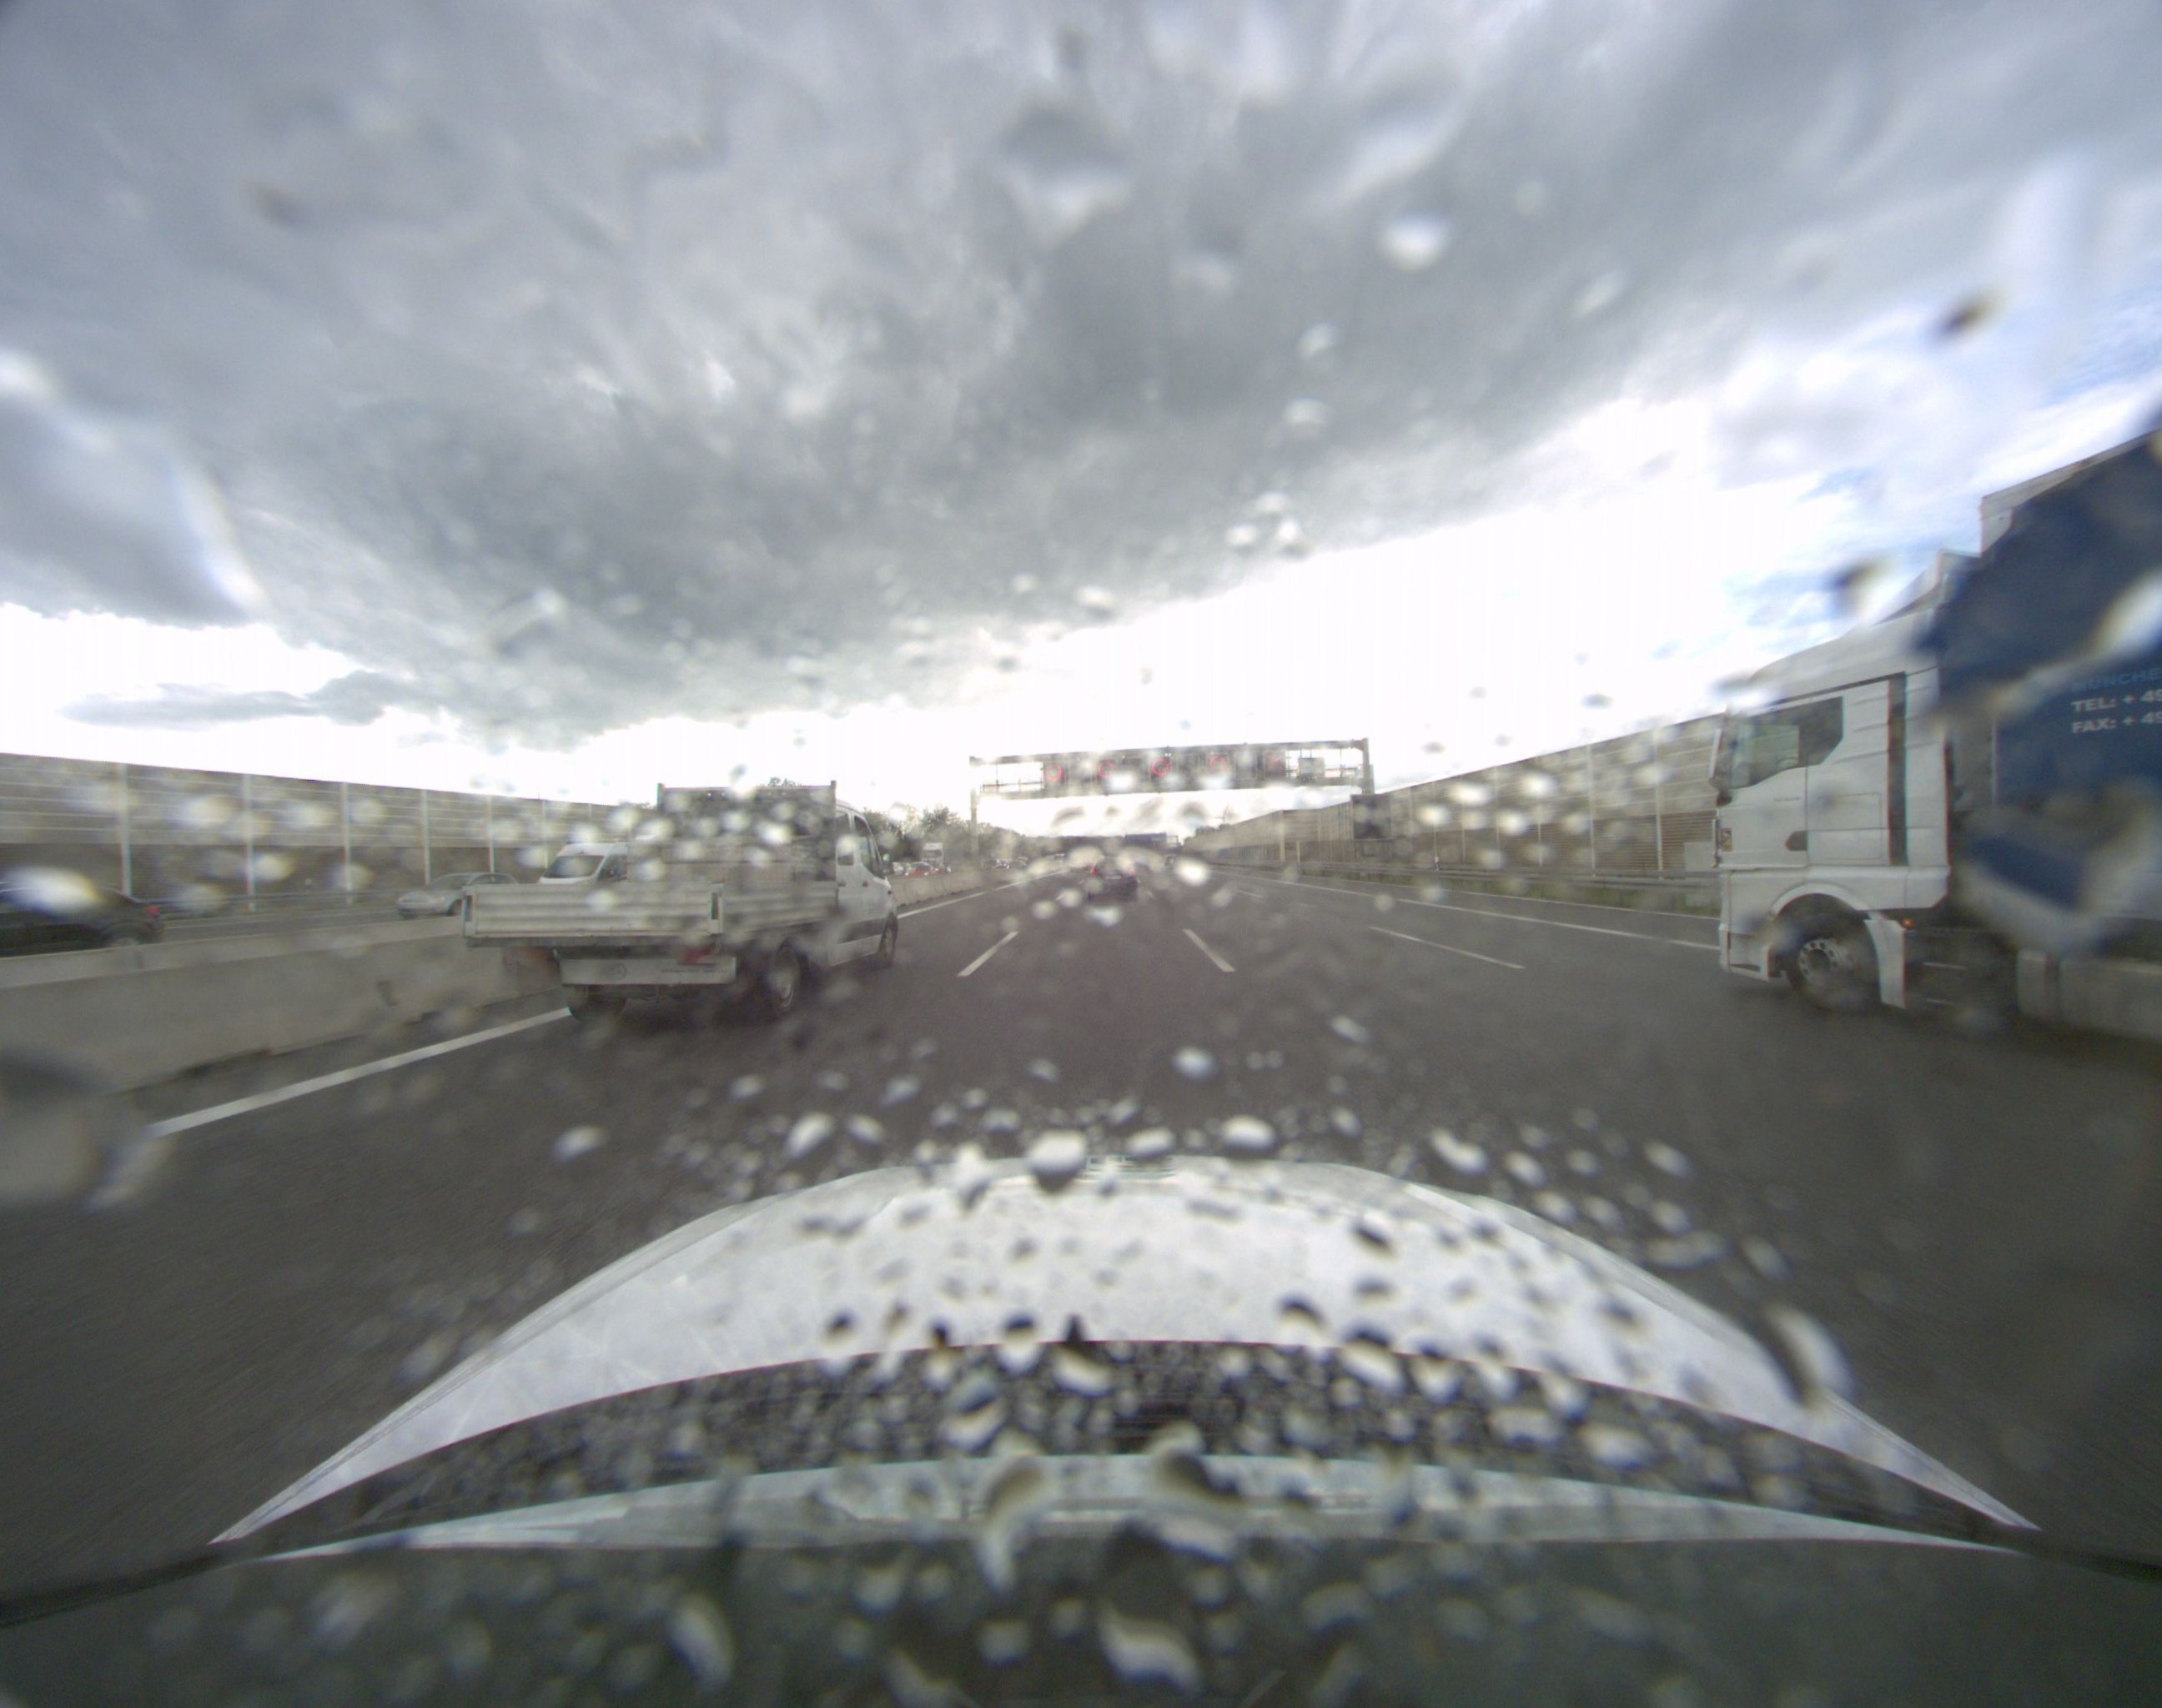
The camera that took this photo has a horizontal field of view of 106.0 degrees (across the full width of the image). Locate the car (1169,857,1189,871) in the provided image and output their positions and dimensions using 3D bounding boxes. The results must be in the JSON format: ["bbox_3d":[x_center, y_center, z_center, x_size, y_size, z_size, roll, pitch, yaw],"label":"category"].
[{"bbox_3d":[10.767,1.132,89.735,1.941,1.418,4.237,-1,-1,4],"label":"car"}]

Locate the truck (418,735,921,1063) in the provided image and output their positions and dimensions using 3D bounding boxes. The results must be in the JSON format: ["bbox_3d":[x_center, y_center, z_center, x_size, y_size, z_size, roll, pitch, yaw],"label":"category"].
[{"bbox_3d":[-3.799,0.327,9.711,2.299,2.439,7.148,-1,0,0],"label":"truck"}]

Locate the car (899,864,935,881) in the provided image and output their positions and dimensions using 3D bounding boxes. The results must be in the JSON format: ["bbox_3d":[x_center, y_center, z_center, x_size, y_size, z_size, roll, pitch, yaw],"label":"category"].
[{"bbox_3d":[-15.285,1.672,76.274,2.051,1.491,5.002,-1,-1,3],"label":"car"}]

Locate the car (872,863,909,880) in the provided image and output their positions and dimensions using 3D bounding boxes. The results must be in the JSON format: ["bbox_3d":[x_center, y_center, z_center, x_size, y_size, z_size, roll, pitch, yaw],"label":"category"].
[{"bbox_3d":[-18.284,1.683,78.433,2.051,1.491,5.002,-1,-1,3],"label":"car"}]

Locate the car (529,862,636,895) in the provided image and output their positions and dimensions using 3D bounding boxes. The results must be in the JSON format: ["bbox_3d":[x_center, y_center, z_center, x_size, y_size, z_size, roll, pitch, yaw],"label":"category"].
[{"bbox_3d":[-24.727,1.180,40.666,2.051,1.491,5.002,-1,-1,3],"label":"car"}]

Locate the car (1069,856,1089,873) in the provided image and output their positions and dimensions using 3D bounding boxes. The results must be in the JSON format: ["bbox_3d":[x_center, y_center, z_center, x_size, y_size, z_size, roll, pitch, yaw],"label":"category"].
[{"bbox_3d":[-0.196,1.027,81.287,1.710,1.624,4.281,-1,0,2],"label":"car"}]

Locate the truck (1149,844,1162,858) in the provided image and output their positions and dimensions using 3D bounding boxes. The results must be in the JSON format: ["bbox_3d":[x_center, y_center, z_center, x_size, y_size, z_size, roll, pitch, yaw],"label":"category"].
[{"bbox_3d":[19.592,-0.669,214.192,3.139,3.601,12.710,0,0,3],"label":"truck"}]

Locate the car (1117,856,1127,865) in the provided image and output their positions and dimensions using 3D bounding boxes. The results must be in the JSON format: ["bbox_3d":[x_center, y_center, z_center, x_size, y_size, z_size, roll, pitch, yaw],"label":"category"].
[{"bbox_3d":[8.110,1.283,160.361,1.959,1.561,4.437,-2,-1,3],"label":"car"}]

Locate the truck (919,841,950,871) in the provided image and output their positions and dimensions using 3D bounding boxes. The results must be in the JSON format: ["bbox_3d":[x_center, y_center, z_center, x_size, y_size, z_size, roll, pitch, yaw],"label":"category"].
[{"bbox_3d":[-20.312,0.310,113.191,2.960,4.035,5.731,-1,0,3],"label":"truck"}]

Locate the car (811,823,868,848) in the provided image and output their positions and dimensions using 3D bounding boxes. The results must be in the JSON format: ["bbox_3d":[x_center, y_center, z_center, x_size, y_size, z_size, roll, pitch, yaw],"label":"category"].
[{"bbox_3d":[-16.222,-1.238,55.015,2.051,1.491,5.002,-1,-1,3],"label":"car"}]

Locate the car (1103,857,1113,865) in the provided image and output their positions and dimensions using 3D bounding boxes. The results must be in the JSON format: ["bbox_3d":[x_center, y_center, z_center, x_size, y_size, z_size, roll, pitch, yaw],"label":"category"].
[{"bbox_3d":[6.005,1.563,181.958,1.959,1.561,4.437,-2,-1,3],"label":"car"}]

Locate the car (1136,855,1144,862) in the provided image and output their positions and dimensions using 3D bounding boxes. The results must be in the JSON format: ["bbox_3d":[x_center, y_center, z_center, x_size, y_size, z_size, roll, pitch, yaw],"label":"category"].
[{"bbox_3d":[14.967,1.137,205.943,1.960,1.561,4.436,-2,-1,3],"label":"car"}]

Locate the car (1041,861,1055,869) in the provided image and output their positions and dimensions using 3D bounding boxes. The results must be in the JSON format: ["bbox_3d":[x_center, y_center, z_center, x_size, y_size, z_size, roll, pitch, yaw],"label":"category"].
[{"bbox_3d":[-6.331,2.152,157.264,2.051,1.535,5.475,-1,-1,3],"label":"car"}]

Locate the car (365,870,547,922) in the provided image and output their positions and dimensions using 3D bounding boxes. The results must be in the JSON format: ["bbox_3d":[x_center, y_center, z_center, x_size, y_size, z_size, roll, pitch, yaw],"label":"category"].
[{"bbox_3d":[-20.791,1.350,27.445,2.051,1.491,5.002,-1,-1,3],"label":"car"}]

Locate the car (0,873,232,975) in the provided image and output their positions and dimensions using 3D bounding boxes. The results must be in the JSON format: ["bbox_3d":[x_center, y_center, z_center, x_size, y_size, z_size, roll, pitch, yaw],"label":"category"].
[{"bbox_3d":[-17.308,1.107,13.026,2.051,1.491,5.002,-1,-1,3],"label":"car"}]

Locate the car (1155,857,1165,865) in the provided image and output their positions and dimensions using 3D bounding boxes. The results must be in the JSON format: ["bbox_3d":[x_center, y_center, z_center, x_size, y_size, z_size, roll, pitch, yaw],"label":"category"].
[{"bbox_3d":[16.205,1.524,166.617,1.874,1.561,4.437,-2,-1,3],"label":"car"}]

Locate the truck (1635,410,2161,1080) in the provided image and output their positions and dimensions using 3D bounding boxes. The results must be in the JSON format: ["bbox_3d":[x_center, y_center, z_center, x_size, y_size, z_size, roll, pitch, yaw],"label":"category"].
[{"bbox_3d":[7.928,-0.670,6.806,2.735,4.035,5.727,-1,0,1],"label":"truck"}]

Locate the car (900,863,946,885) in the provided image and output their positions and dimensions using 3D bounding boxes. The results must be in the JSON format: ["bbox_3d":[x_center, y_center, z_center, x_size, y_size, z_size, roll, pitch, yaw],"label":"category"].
[{"bbox_3d":[-11.547,1.407,59.881,2.051,1.491,5.002,-1,-1,3],"label":"car"}]

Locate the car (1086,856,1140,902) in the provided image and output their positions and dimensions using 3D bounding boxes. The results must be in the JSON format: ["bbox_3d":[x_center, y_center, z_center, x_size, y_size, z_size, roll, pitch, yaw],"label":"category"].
[{"bbox_3d":[1.095,0.813,28.527,1.711,1.417,4.280,-1,0,1],"label":"car"}]

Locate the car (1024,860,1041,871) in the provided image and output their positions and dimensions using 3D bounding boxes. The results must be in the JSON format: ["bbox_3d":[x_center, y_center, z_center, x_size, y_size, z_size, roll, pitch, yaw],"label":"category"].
[{"bbox_3d":[-7.596,1.808,128.607,2.051,1.645,5.384,-1,-1,3],"label":"car"}]

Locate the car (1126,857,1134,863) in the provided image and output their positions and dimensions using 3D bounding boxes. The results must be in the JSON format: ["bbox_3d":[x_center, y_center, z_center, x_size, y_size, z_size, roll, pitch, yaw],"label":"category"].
[{"bbox_3d":[13.478,1.803,225.224,1.960,1.561,4.435,-2,-1,2],"label":"car"}]

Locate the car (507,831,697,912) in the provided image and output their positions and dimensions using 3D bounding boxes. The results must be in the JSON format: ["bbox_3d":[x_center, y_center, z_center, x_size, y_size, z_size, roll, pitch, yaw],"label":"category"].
[{"bbox_3d":[-17.035,0.591,29.649,2.373,2.550,7.092,-1,0,3],"label":"car"}]

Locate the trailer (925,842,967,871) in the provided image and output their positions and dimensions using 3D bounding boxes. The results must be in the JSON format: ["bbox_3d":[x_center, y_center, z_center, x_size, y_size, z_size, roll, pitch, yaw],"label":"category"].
[{"bbox_3d":[-19.883,0.320,121.096,2.919,4.032,14.465,-1,0,3],"label":"trailer"}]

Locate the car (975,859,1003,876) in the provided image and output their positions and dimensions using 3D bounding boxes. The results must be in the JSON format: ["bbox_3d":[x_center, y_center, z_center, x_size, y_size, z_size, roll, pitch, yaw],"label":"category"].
[{"bbox_3d":[-10.315,1.475,91.448,2.051,1.880,6.333,-1,-1,3],"label":"car"}]

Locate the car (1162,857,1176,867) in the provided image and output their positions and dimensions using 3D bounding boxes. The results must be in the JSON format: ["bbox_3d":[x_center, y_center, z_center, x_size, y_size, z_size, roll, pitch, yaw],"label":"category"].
[{"bbox_3d":[13.618,1.262,125.996,1.875,1.542,4.436,-2,-1,3],"label":"car"}]

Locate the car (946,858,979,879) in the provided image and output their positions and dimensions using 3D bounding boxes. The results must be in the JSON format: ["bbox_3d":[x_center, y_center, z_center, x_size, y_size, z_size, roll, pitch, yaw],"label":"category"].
[{"bbox_3d":[-10.915,1.321,75.349,2.051,1.880,5.002,-1,-1,3],"label":"car"}]

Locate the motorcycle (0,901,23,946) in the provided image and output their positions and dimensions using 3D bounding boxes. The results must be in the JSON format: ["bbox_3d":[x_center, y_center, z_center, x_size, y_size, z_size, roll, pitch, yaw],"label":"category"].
[{"bbox_3d":[-24.893,1.595,17.721,0.516,1.007,2.432,0,0,2],"label":"motorcycle"}]

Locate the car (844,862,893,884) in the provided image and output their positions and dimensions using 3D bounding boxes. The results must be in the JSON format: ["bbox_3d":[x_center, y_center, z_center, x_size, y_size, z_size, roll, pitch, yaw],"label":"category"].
[{"bbox_3d":[-15.868,1.407,61.100,2.051,1.491,5.002,-1,-1,3],"label":"car"}]
